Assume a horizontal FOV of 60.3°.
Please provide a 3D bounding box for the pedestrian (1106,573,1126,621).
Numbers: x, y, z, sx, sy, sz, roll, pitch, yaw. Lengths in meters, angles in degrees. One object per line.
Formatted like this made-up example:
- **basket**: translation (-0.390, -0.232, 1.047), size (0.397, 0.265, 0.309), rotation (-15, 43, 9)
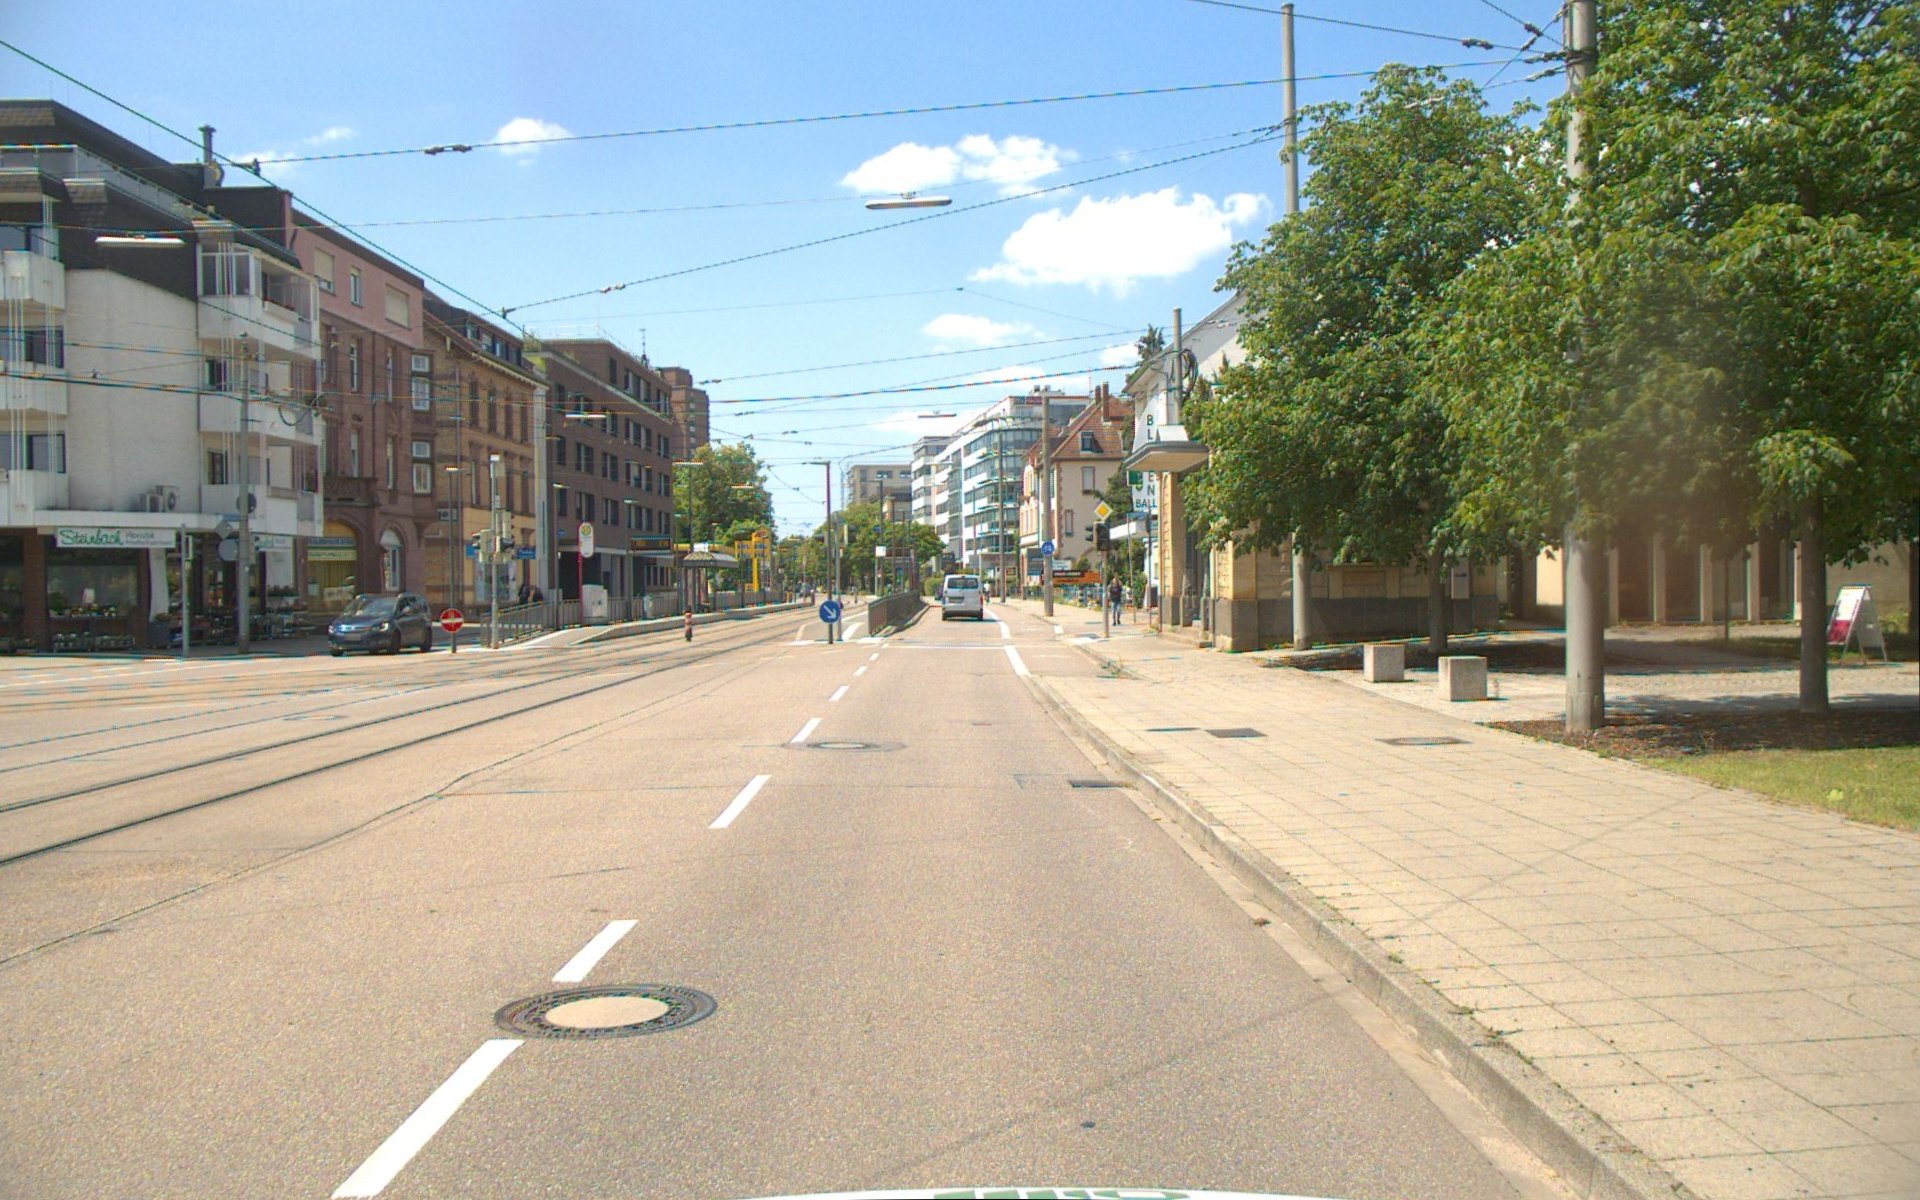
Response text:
- **pedestrian**: translation (5.209, -0.094, 55.262), size (0.565, 1.583, 0.786), rotation (-3, -1, 3)

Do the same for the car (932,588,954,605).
- **car**: translation (-1.780, -0.416, 173.327), size (1.827, 1.716, 4.995), rotation (-2, 1, -5)

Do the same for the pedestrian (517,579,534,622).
- **pedestrian**: translation (-21.023, 0.023, 79.994), size (0.605, 2.049, 0.810), rotation (-1, 0, -2)

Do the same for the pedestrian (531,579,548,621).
- **pedestrian**: translation (-20.370, 0.000, 80.049), size (0.663, 2.049, 0.684), rotation (0, -1, -2)

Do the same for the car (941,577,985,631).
- **car**: translation (0.089, 0.124, 68.311), size (1.717, 2.048, 4.000), rotation (-2, 1, -1)

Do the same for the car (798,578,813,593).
- **car**: translation (-21.019, -1.985, 224.418), size (1.668, 1.644, 3.749), rotation (-5, -3, -9)

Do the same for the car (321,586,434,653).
- **car**: translation (-15.929, 0.500, 45.419), size (1.689, 1.712, 4.278), rotation (-1, 1, -2)

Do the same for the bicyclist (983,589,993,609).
- **bicyclist**: translation (1.998, -0.053, 117.898), size (0.579, 1.421, 0.841), rotation (-1, 0, -4)
